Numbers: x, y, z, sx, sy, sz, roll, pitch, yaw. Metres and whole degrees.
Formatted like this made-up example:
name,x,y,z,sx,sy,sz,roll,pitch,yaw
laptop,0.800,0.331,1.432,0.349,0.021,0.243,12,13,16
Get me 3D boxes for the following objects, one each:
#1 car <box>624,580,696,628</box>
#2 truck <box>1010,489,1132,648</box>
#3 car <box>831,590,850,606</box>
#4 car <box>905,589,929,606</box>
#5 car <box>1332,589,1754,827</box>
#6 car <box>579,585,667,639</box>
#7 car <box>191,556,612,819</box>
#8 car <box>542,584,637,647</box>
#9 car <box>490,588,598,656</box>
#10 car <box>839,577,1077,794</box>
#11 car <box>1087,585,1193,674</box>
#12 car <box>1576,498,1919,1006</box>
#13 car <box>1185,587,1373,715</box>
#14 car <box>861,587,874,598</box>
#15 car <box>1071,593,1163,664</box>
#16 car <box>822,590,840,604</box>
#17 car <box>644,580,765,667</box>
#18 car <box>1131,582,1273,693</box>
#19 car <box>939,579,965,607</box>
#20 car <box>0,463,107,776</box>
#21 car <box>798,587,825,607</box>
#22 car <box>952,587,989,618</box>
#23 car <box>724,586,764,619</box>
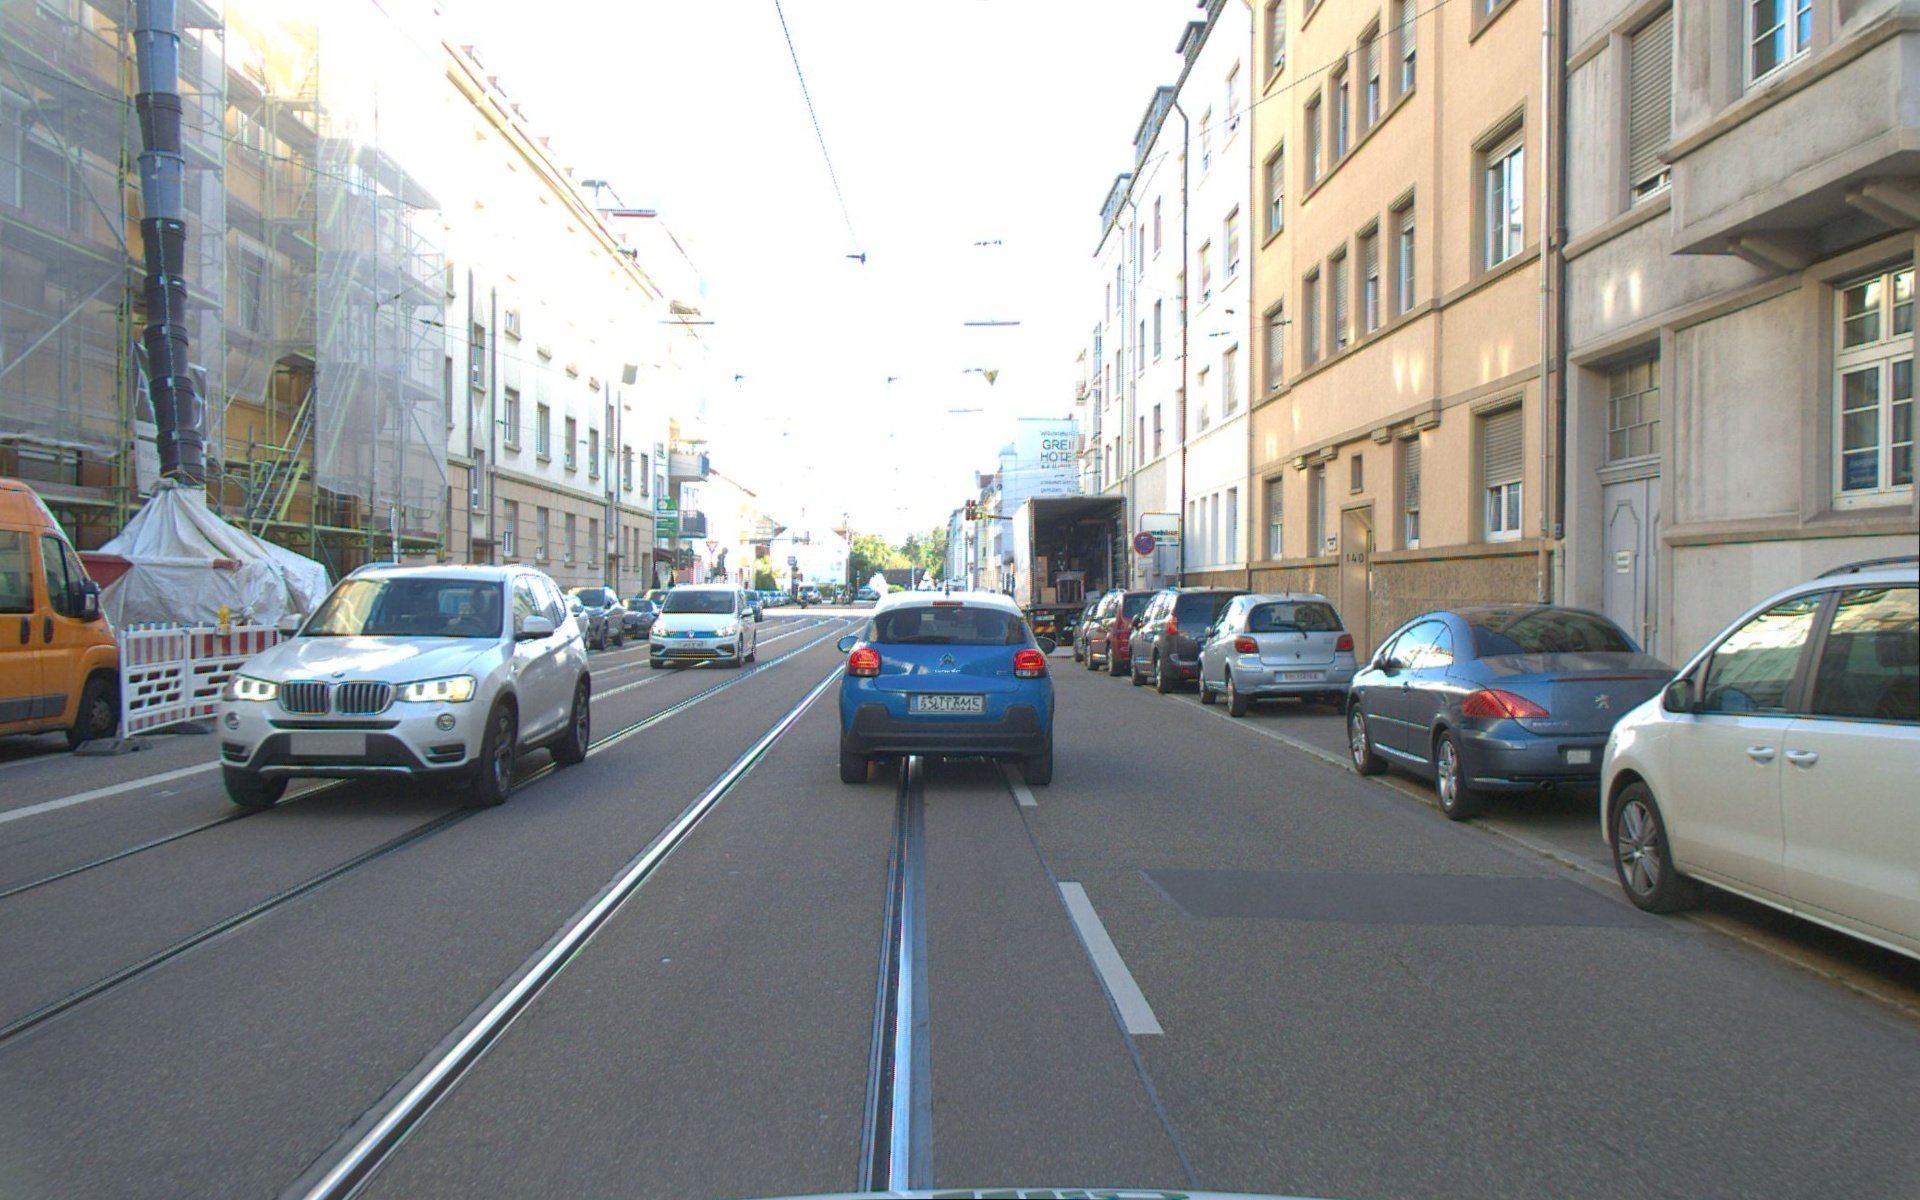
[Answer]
name,x,y,z,sx,sy,sz,roll,pitch,yaw
car,-10.623,0.113,58.855,1.789,1.660,4.847,0,0,-1
truck,3.074,-0.868,48.751,2.795,4.154,11.270,0,0,0
car,-11.939,-0.205,165.594,1.729,1.512,4.031,0,0,-1
car,-3.920,-0.212,151.305,2.136,1.512,4.159,0,0,-1
car,4.206,0.675,12.678,1.687,1.512,4.221,0,0,-1
car,-10.768,0.345,53.077,2.101,1.650,3.999,-1,1,-2
car,-4.008,0.536,12.722,1.789,1.660,4.489,0,0,-1
car,-10.019,0.382,45.000,1.679,1.621,4.266,0,0,-1
car,-10.041,0.493,40.175,1.679,1.544,4.046,0,0,-1
car,-0.052,0.610,14.142,1.700,1.533,3.991,2,0,-1
car,3.533,0.540,33.064,1.630,1.661,3.870,0,0,-1
car,4.346,0.549,6.959,1.695,1.859,4.685,0,0,-1
car,4.159,0.602,22.159,1.630,1.546,4.221,0,0,-1
car,-13.382,-1.108,238.425,1.729,1.512,4.031,0,0,-1
car,3.510,0.610,37.544,1.630,1.512,4.031,0,0,-1
car,-14.255,-0.292,182.813,1.729,1.512,4.031,0,0,-1
car,-5.103,0.428,33.521,1.863,1.660,4.266,0,0,-1
car,3.874,0.544,27.052,1.630,1.675,4.221,0,0,-1
car,-0.667,-0.615,140.637,2.175,2.324,4.083,0,0,-1
car,-8.722,0.175,12.571,2.102,2.518,4.977,-1,1,-3
car,-12.050,-0.253,134.503,1.863,1.660,4.266,0,0,-1
car,0.498,0.098,81.845,1.729,1.512,4.031,0,0,-1
car,-11.046,0.103,84.743,1.790,1.660,3.902,0,0,-4
